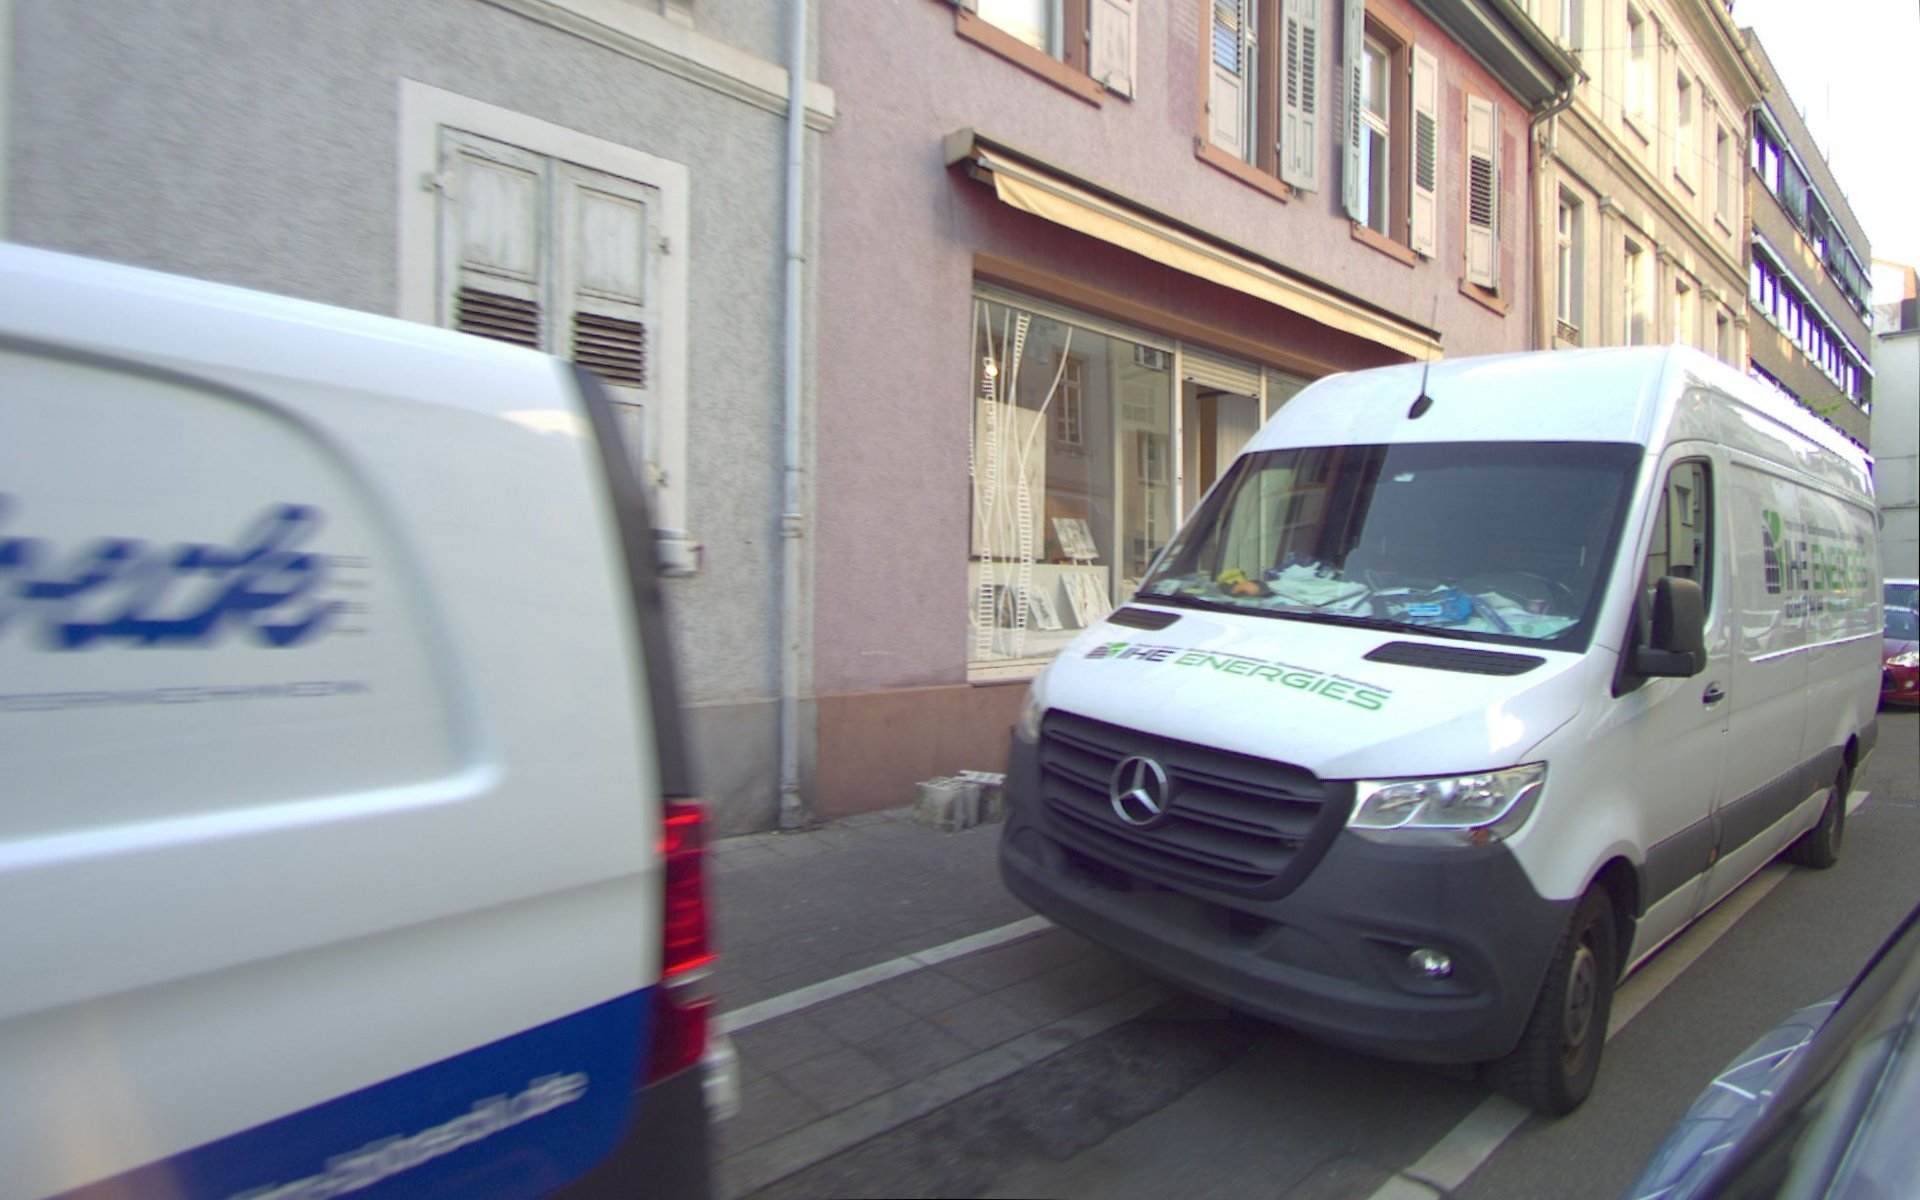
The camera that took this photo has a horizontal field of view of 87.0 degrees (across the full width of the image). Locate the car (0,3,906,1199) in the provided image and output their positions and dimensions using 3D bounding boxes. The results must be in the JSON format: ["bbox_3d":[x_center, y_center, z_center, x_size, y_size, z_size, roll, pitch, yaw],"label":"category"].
[{"bbox_3d":[-2.690,0.440,0.403,5.226,1.917,1.945,-1,4,-42],"label":"car"}]

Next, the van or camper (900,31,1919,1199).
[{"bbox_3d":[3.078,0.125,5.167,6.938,2.670,2.054,0,1,-41],"label":"van or camper"}]

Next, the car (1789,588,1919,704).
[{"bbox_3d":[13.739,0.601,15.124,3.691,1.524,1.656,0,1,-44],"label":"car"}]

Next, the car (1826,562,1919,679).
[{"bbox_3d":[17.759,0.333,18.385,5.177,1.921,1.942,0,1,-36],"label":"car"}]
